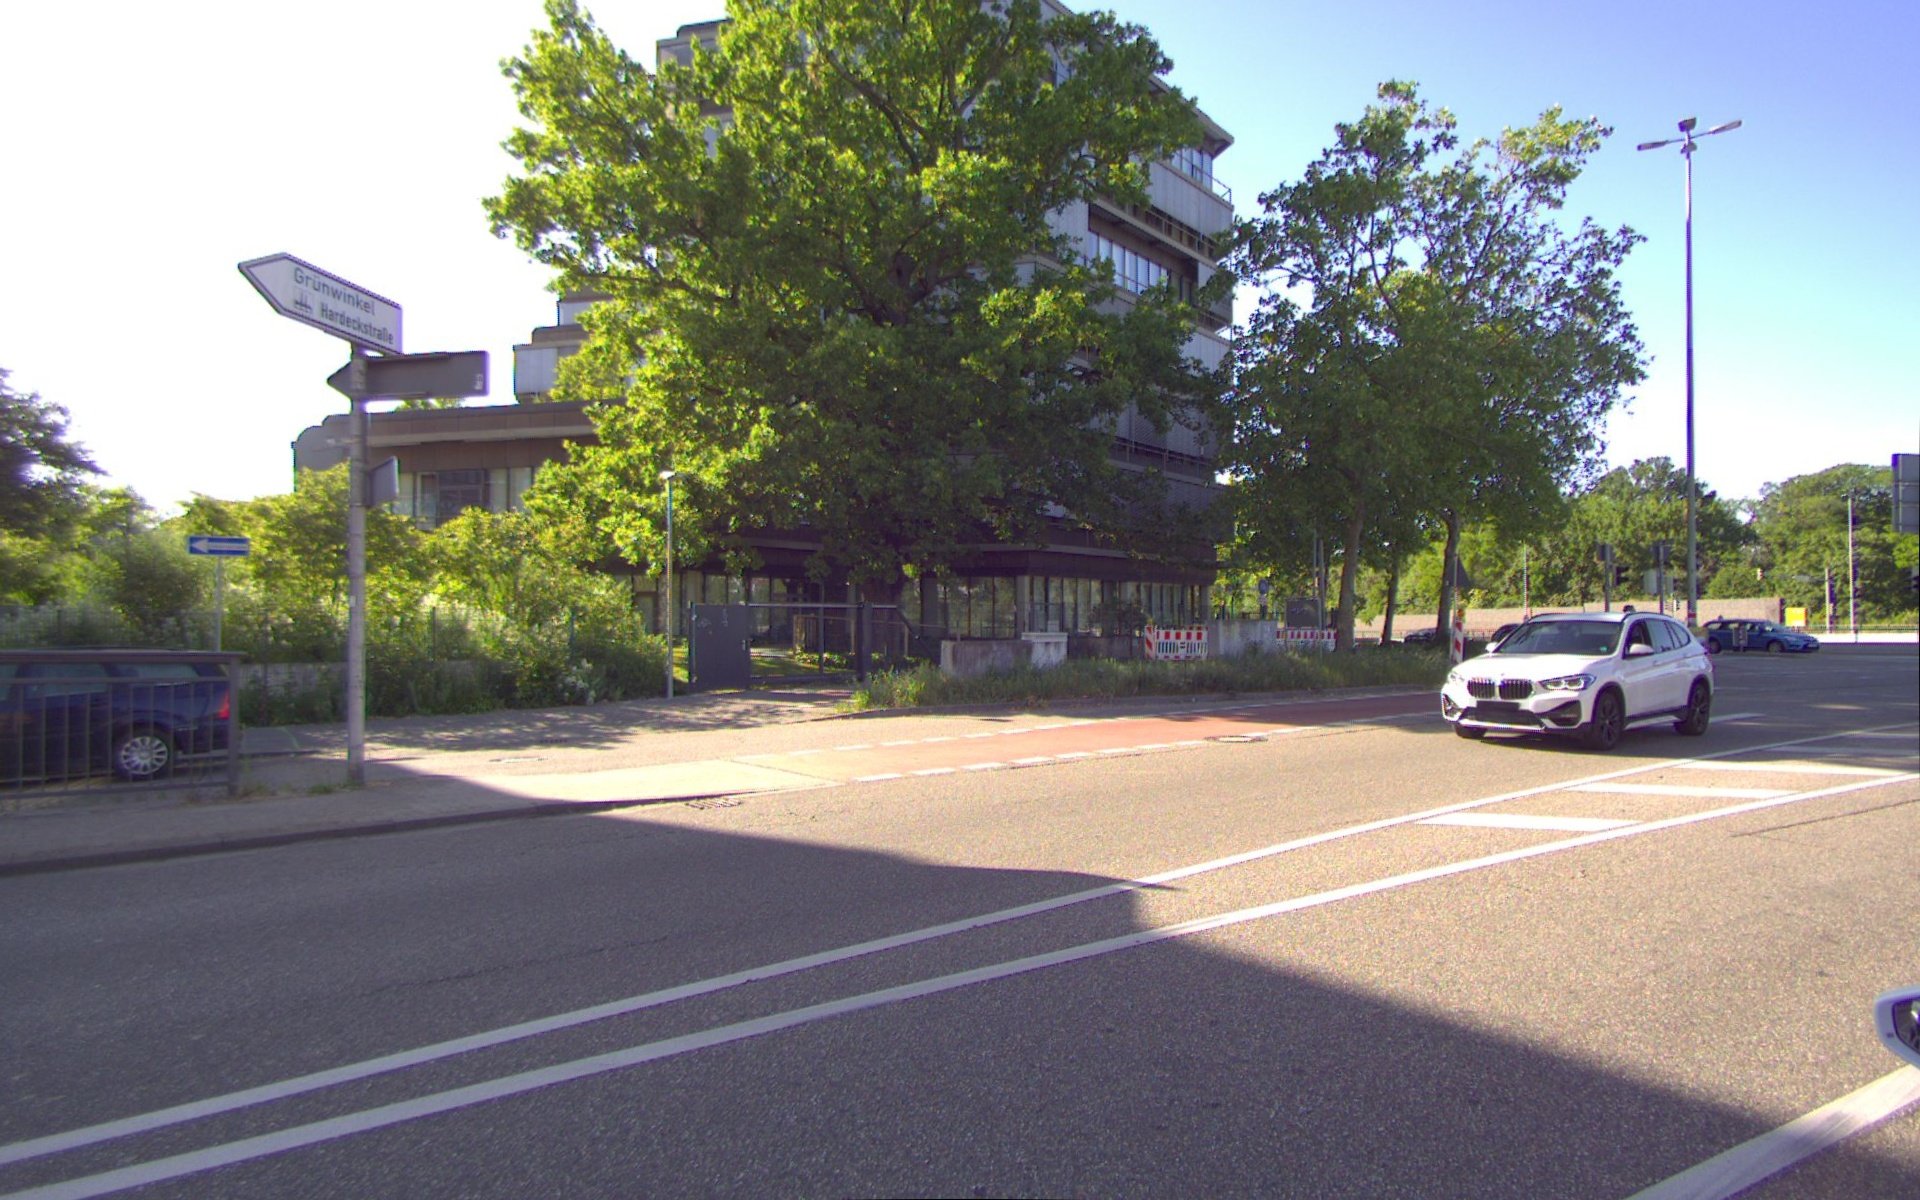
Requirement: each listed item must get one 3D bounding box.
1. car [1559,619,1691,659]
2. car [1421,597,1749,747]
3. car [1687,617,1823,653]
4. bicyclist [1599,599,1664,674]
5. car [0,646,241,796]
[{"bbox_3d":[25.552,1.485,38.802,1.792,1.457,4.446,0,-2,-7],"label":"car"},{"bbox_3d":[8.282,0.938,13.206,4.577,1.674,1.824,3,-3,-31],"label":"car"},{"bbox_3d":[34.224,1.482,43.398,1.795,1.457,4.438,0,-2,-15],"label":"car"},{"bbox_3d":[15.888,0.859,23.782,1.179,1.723,0.686,0,-1,-17],"label":"bicyclist"},{"bbox_3d":[-10.786,1.324,11.232,4.411,1.523,1.806,1,-2,-38],"label":"car"}]
